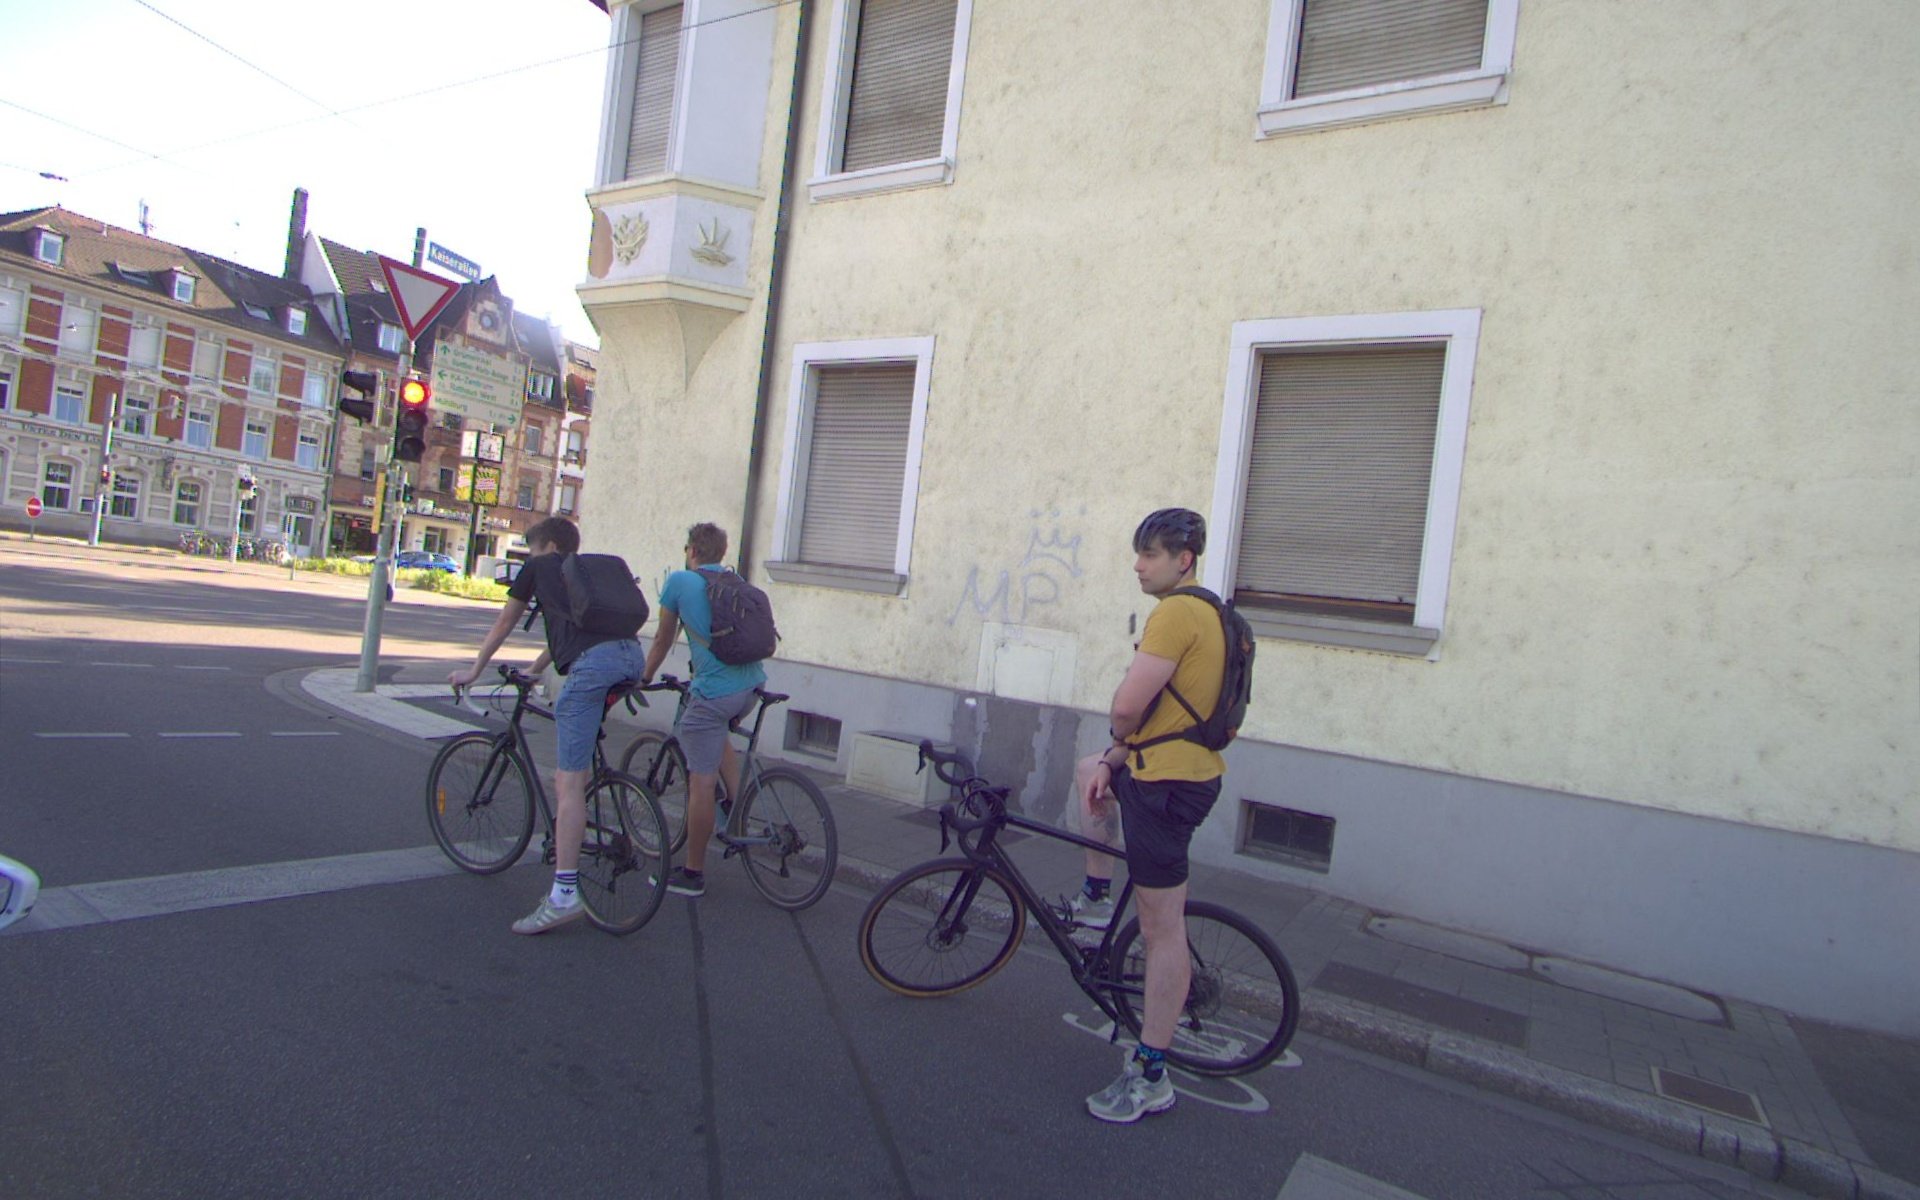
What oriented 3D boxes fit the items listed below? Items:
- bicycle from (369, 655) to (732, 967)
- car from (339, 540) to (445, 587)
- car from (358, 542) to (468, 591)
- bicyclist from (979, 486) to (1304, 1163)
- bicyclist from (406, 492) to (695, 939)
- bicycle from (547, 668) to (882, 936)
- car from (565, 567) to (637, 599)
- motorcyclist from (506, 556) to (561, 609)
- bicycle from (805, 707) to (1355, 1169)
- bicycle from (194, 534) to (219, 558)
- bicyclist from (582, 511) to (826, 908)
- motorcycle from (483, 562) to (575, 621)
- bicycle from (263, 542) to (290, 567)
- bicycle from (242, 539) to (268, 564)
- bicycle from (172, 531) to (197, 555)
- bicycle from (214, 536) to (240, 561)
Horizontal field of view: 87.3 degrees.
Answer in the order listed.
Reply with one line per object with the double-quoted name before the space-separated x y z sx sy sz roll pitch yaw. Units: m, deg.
"bicycle" -1.902 0.864 4.557 1.753 1.003 0.482 6 -1 32
"car" -27.660 -1.760 49.115 1.775 1.641 3.994 6 -2 33
"car" -25.440 -1.553 46.891 1.775 1.641 3.994 6 -2 33
"bicyclist" 0.667 0.688 3.523 0.763 1.990 0.783 7 0 18
"bicyclist" -1.853 0.468 4.560 0.920 1.787 0.590 6 -1 32
"bicycle" -1.317 0.968 5.224 1.753 0.995 0.504 6 -1 32
"car" -23.191 -1.105 65.085 1.842 1.454 3.985 6 -2 35
"motorcyclist" -11.841 -0.485 27.925 0.777 1.315 1.015 6 -2 35
"bicycle" 0.442 1.094 3.694 1.709 1.119 0.783 7 -1 18
"bicycle" -34.761 -2.512 46.402 0.762 0.979 2.186 8 -2 -39
"bicyclist" -1.346 0.524 5.277 0.960 1.868 0.504 6 -1 32
"motorcycle" -11.912 -0.224 27.866 0.784 1.349 2.138 6 -2 35
"bicycle" -33.106 -2.214 48.727 0.789 1.027 2.186 8 -2 -39
"bicycle" -33.612 -2.311 47.967 0.762 1.019 2.196 8 -2 -39
"bicycle" -35.363 -2.613 45.877 0.762 0.974 2.186 8 -2 -39
"bicycle" -34.264 -2.422 47.024 0.762 0.995 2.186 8 -2 -39
